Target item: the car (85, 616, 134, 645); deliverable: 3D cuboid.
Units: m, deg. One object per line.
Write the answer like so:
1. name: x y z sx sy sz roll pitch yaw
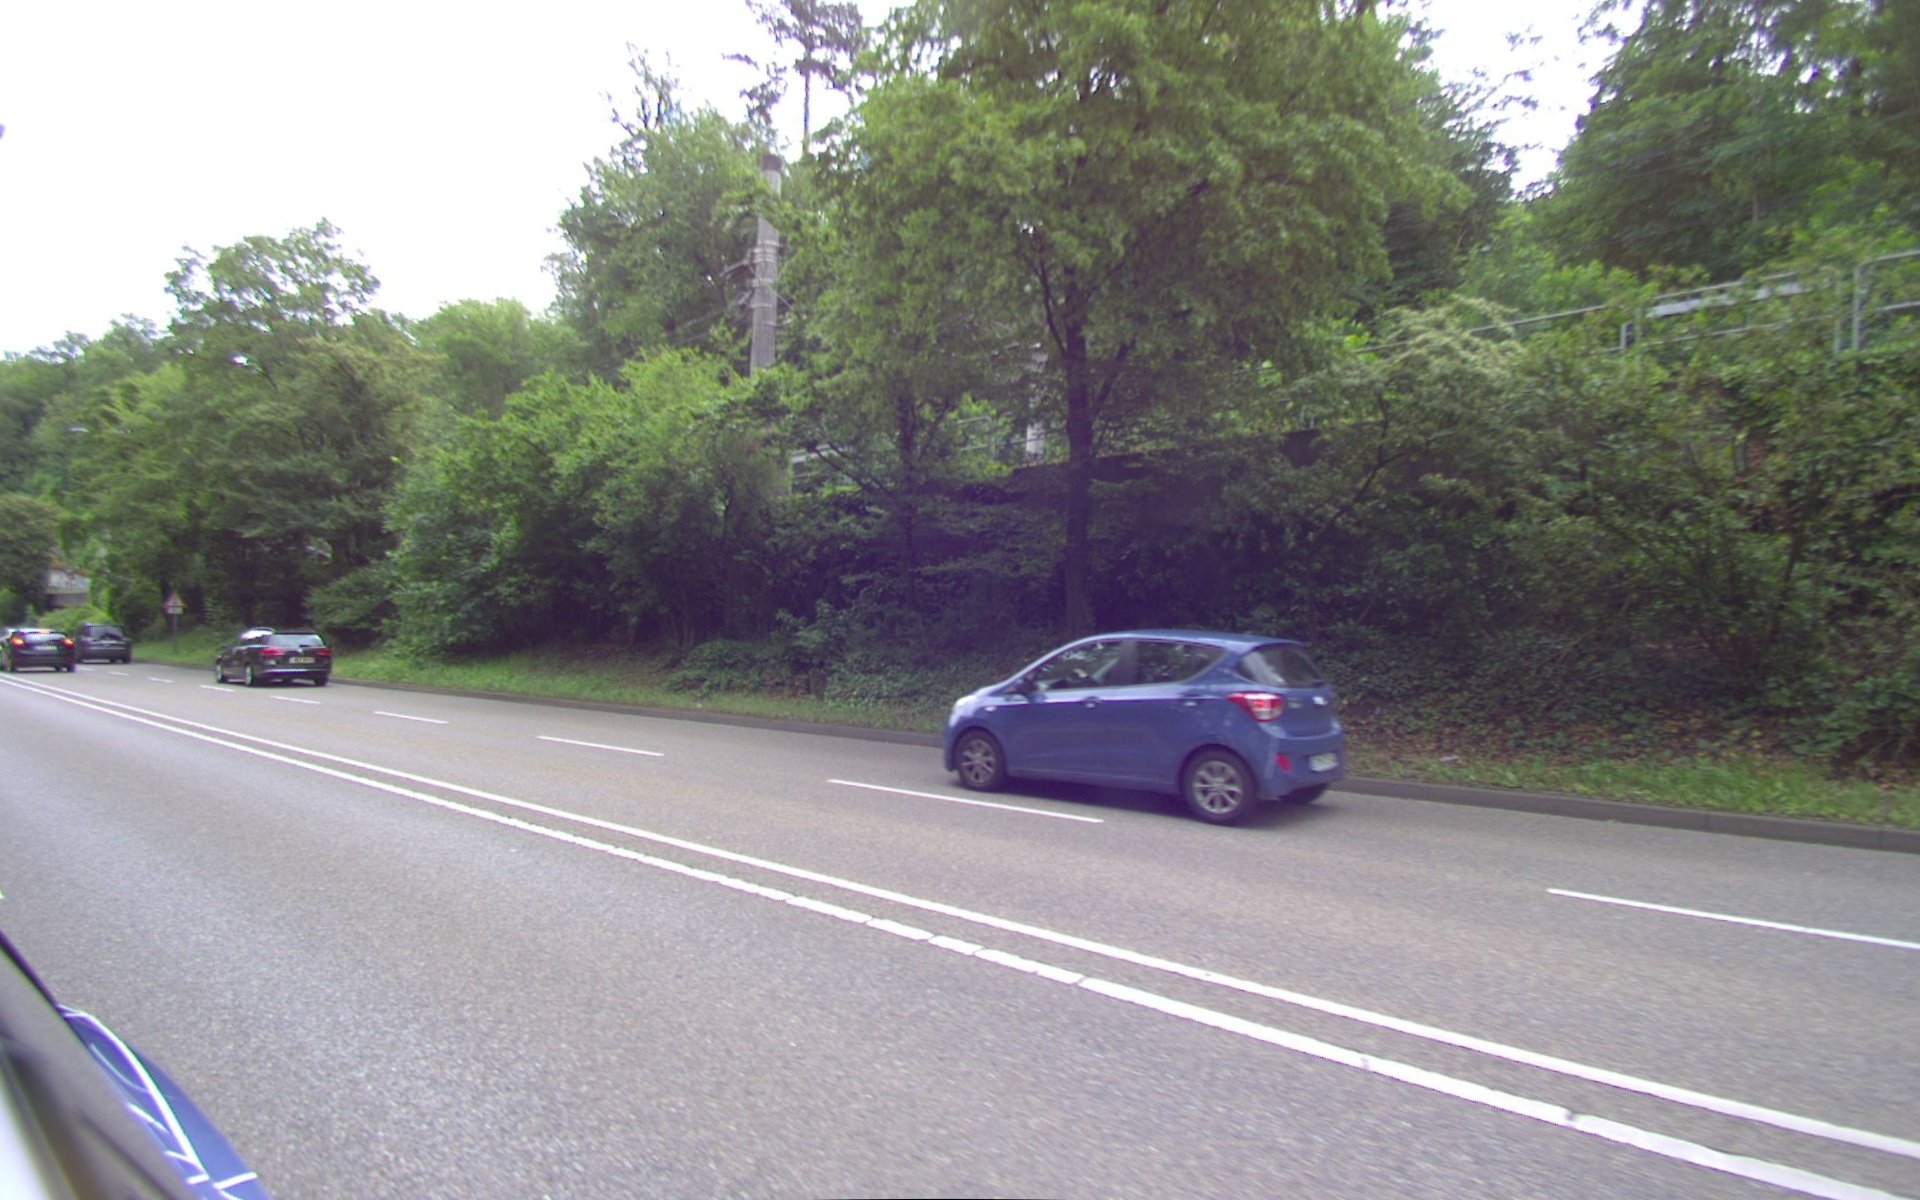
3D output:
1. car: -48.824 1.733 58.059 3.998 1.564 1.552 -1 0 41

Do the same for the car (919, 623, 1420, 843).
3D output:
1. car: 1.669 0.964 8.850 3.997 1.497 1.653 -1 -3 40

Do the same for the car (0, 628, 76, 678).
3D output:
1. car: -30.898 1.708 33.710 3.998 1.472 1.669 -1 1 41

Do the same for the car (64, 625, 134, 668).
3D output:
1. car: -37.115 1.982 43.606 4.133 1.786 1.640 -1 -4 41

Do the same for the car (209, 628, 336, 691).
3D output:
1. car: -18.247 1.522 26.798 4.431 1.522 1.714 -1 -3 42
